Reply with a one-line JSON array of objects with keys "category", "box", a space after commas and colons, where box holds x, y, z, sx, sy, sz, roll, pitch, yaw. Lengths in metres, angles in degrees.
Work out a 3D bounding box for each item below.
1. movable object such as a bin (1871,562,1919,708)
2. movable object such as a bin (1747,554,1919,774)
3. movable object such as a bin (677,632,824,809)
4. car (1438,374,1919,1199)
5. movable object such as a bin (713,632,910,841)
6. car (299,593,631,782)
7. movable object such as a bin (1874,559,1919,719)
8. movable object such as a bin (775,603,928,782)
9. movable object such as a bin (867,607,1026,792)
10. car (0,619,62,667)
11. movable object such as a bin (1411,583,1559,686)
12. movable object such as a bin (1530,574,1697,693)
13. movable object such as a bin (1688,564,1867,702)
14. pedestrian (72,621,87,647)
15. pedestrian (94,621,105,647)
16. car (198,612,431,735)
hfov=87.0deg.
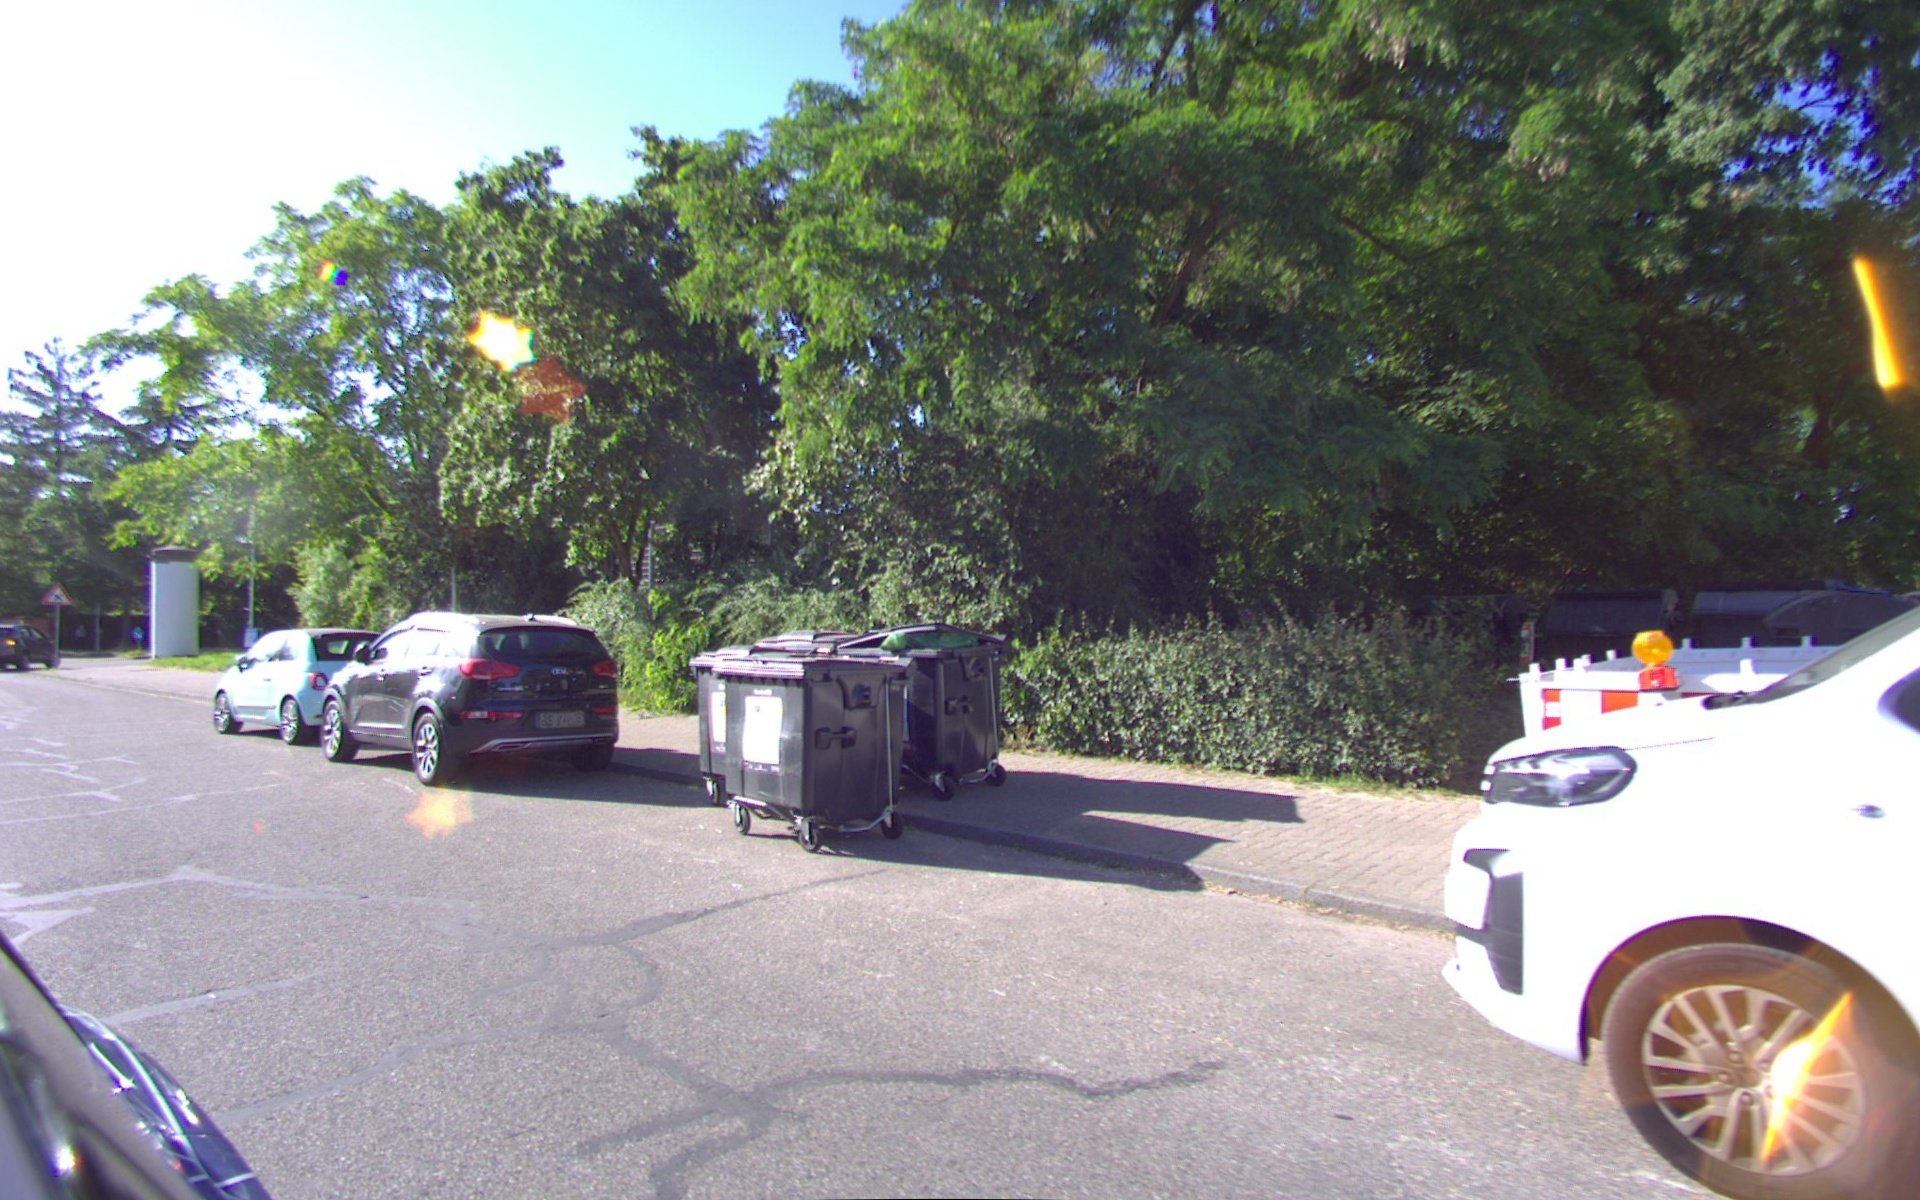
[{"category": "movable object such as a bin", "box": [10.530, 0.363, 10.707, 1.280, 1.500, 1.244, -1, -2, 43]}, {"category": "movable object such as a bin", "box": [6.958, 0.466, 7.845, 1.277, 1.563, 1.247, -1, -2, 36]}, {"category": "movable object such as a bin", "box": [-1.765, 0.945, 8.442, 1.269, 1.350, 0.602, -1, -2, 45]}, {"category": "car", "box": [3.801, 0.448, 2.184, 4.669, 1.976, 1.843, -2, -2, 42]}, {"category": "movable object such as a bin", "box": [-1.089, 0.907, 7.258, 0.793, 1.326, 1.322, 1, -3, -42]}, {"category": "car", "box": [-5.442, 0.837, 10.880, 4.248, 1.651, 1.657, -2, -3, 41]}, {"category": "movable object such as a bin", "box": [9.669, 0.368, 9.718, 1.280, 1.500, 1.244, -1, -2, 43]}, {"category": "movable object such as a bin", "box": [-0.955, 0.773, 9.054, 0.891, 1.479, 1.053, -1, -1, 32]}, {"category": "movable object such as a bin", "box": [-0.097, 0.777, 8.456, 0.891, 1.410, 1.053, -2, -1, 32]}, {"category": "car", "box": [-35.403, 1.589, 37.668, 1.886, 1.718, 4.199, 1, -2, -26]}, {"category": "movable object such as a bin", "box": [7.443, 0.479, 14.371, 1.260, 1.365, 1.511, 1, -2, -41]}, {"category": "movable object such as a bin", "box": [8.440, 0.422, 13.095, 1.260, 1.419, 1.511, 1, -2, -41]}, {"category": "movable object such as a bin", "box": [9.664, 0.375, 11.971, 1.261, 1.500, 1.510, 1, -2, -45]}, {"category": "pedestrian", "box": [-52.163, 2.036, 59.943, 0.392, 1.532, 0.536, -1, -1, 15]}, {"category": "pedestrian", "box": [-51.386, 2.019, 60.414, 0.538, 1.573, 0.390, -1, -2, 42]}, {"category": "car", "box": [-9.176, 0.968, 14.334, 3.412, 1.539, 1.612, -1, -2, 35]}]
